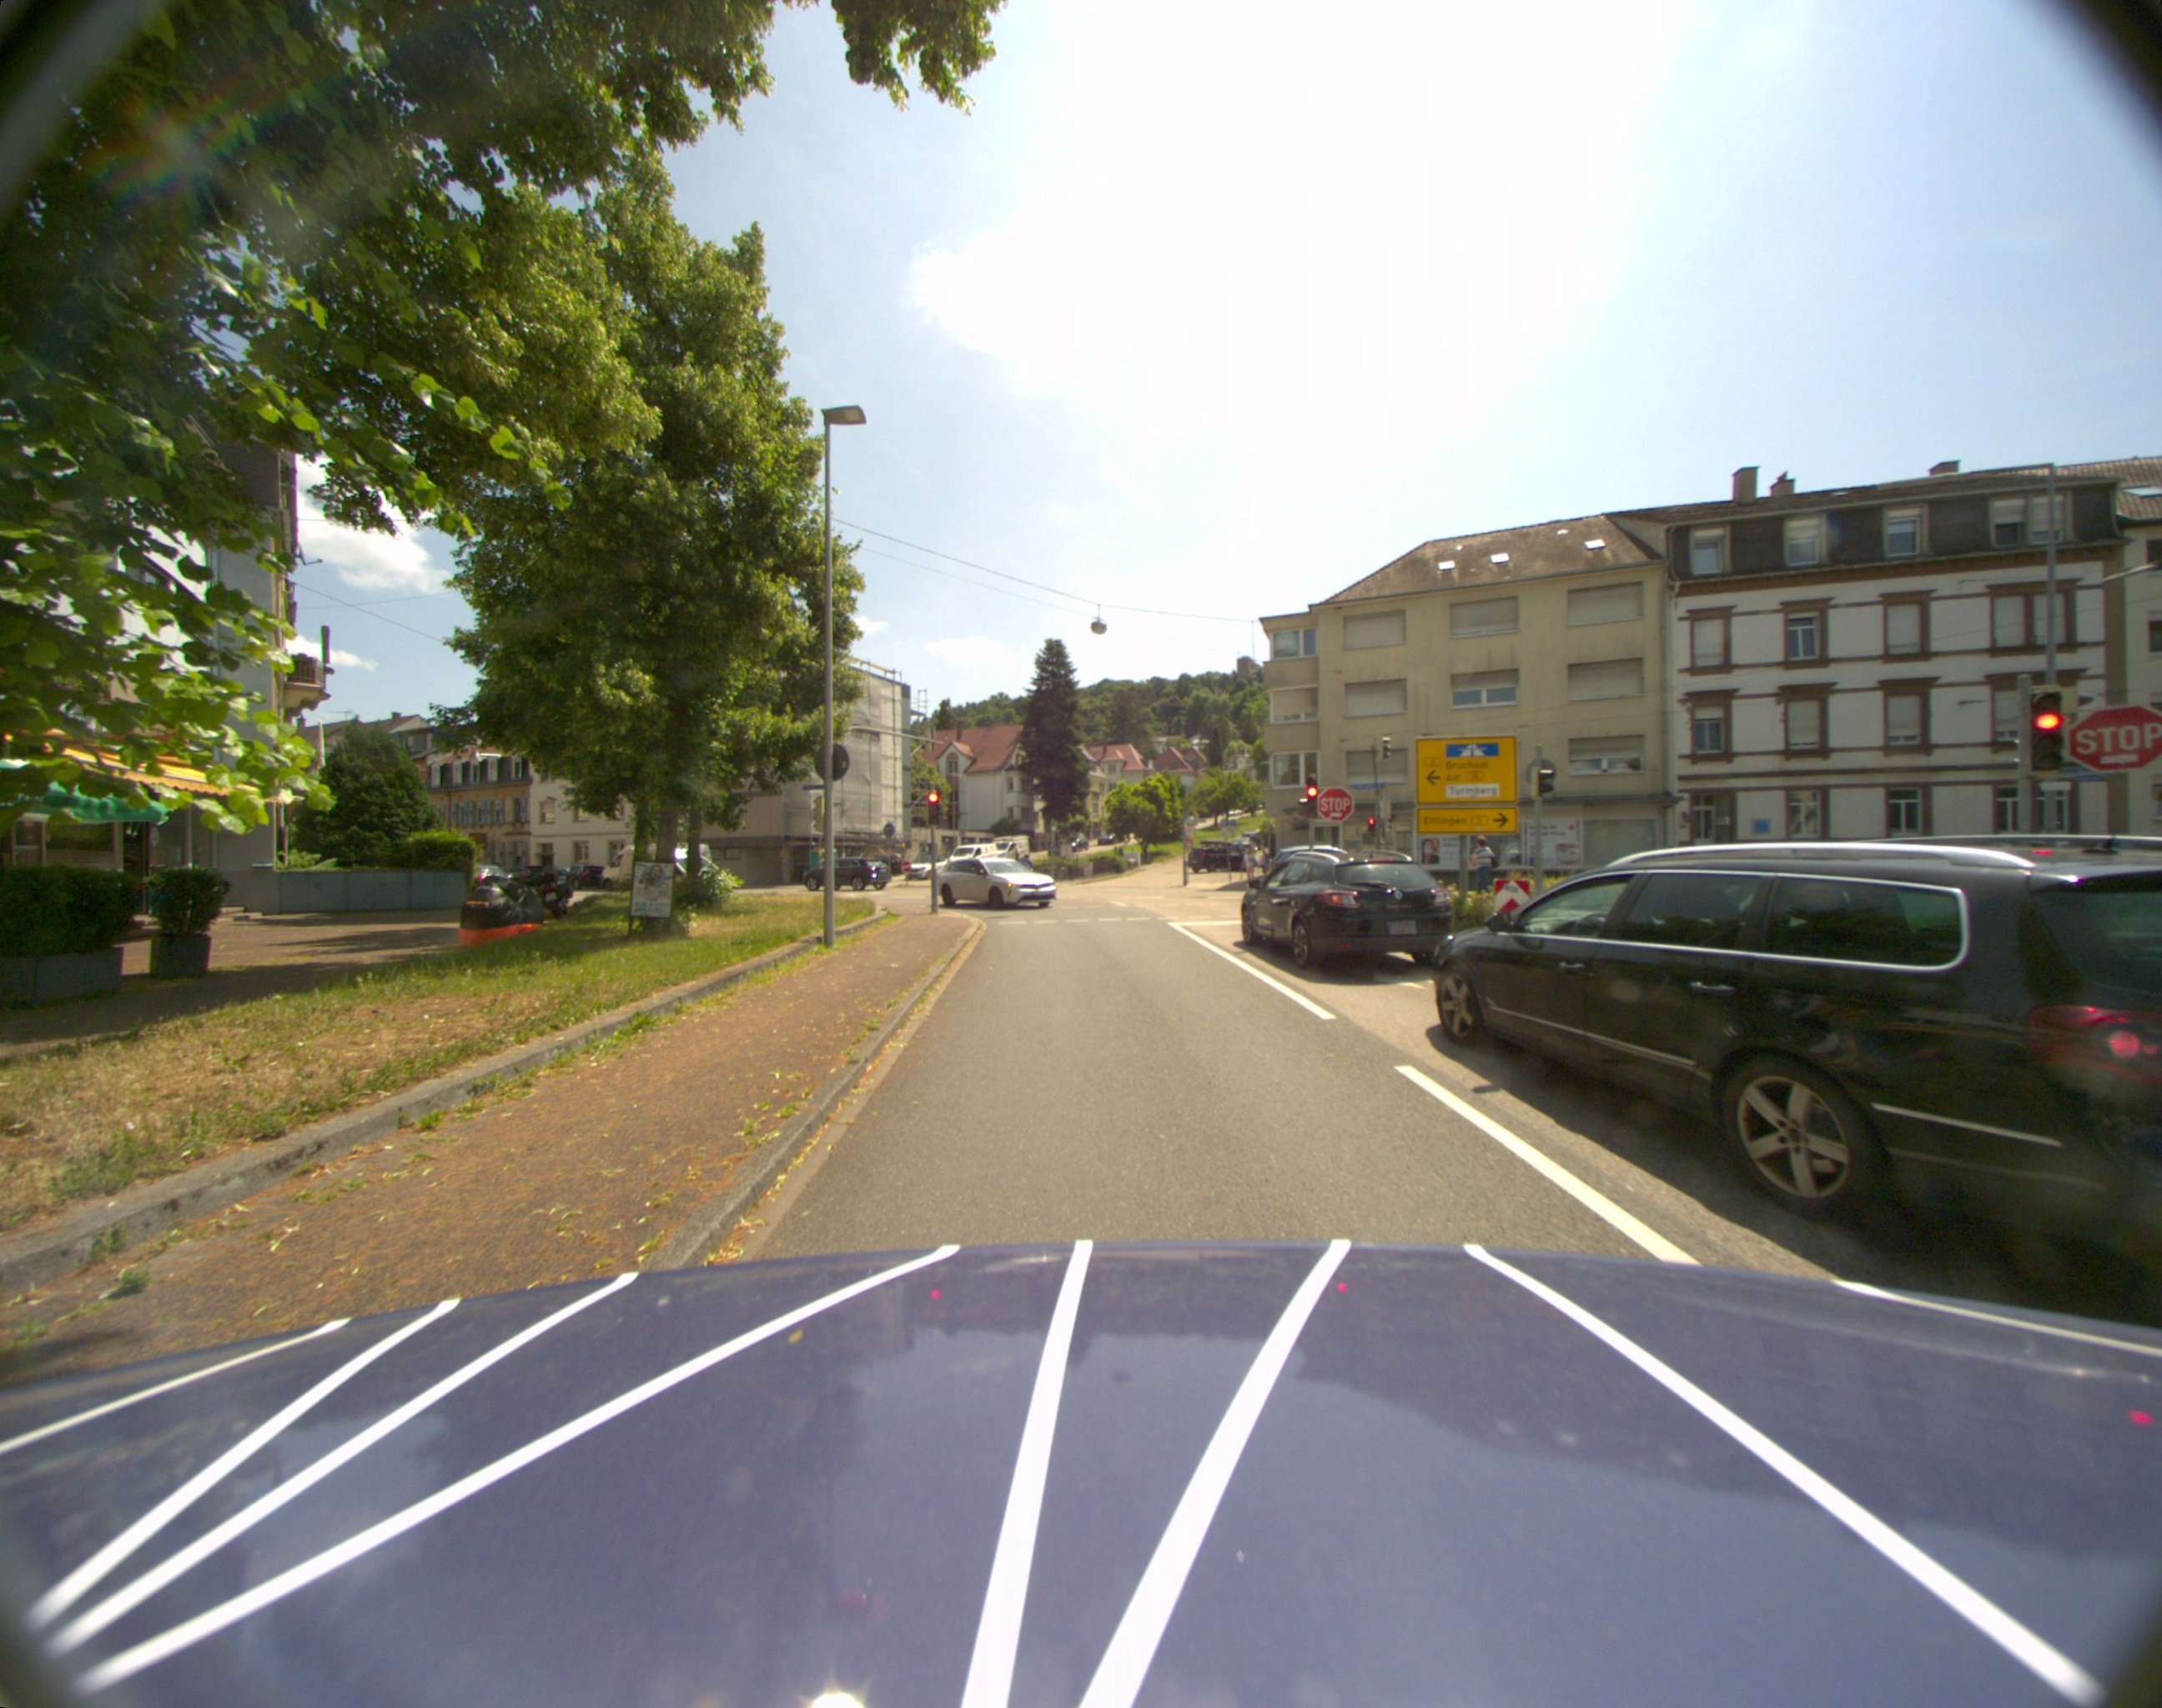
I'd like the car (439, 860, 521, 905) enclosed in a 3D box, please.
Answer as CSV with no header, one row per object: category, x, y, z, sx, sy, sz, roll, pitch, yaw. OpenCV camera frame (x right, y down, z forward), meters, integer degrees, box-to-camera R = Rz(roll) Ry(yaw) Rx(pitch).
car,-22.979,1.081,28.964,1.844,1.539,5.142,0,-2,-45

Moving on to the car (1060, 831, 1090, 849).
car,-0.543,-1.332,72.995,1.754,1.440,3.742,-1,4,19

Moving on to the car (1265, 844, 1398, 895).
car,8.216,0.500,25.081,3.991,1.559,1.762,-1,1,19

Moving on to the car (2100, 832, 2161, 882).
car,34.998,0.064,23.206,4.374,1.501,2.002,-1,0,13

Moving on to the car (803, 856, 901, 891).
car,-11.054,0.931,36.691,4.276,1.549,1.860,-1,1,22

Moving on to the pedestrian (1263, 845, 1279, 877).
pedestrian,9.655,0.343,38.683,0.647,1.623,0.689,-1,1,25

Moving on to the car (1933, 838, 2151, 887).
car,30.705,0.247,24.433,3.993,1.510,2.001,0,1,11

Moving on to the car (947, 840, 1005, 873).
car,-7.580,0.117,55.282,1.996,2.003,5.016,-1,4,20

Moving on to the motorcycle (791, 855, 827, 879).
motorcycle,-17.487,0.822,48.782,2.045,1.463,0.880,-2,1,-27

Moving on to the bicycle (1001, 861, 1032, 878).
bicycle,-3.692,0.876,43.258,1.742,0.961,0.399,-1,1,20

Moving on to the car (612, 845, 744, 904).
car,-16.725,0.827,31.436,5.657,2.261,1.910,-1,1,28

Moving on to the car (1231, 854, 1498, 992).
car,3.651,0.779,10.799,1.999,1.491,4.424,-1,0,-2

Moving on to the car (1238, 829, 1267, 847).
car,15.179,-1.437,67.161,1.805,1.380,4.003,-1,4,22

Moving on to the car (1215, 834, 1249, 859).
car,11.504,-0.623,57.654,1.805,1.607,4.003,-1,4,22

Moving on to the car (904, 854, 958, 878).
car,-9.882,0.780,50.262,1.754,1.439,3.744,-1,1,21

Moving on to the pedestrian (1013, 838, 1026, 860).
pedestrian,-4.912,-0.400,60.641,0.741,1.704,0.713,-1,1,27

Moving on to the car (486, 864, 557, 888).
car,-38.713,1.509,52.587,4.805,1.631,1.895,-1,-1,25

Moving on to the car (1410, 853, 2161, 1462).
car,3.767,0.780,4.119,1.998,1.510,4.511,-1,0,0

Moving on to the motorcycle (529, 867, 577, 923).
motorcycle,-13.607,1.004,19.561,0.920,1.305,2.219,-3,1,-36

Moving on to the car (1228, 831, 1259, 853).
car,13.352,-1.031,62.444,1.805,1.543,4.003,-1,4,22

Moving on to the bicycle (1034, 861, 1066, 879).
bicycle,-1.733,0.875,42.467,1.779,0.961,0.399,-1,1,20

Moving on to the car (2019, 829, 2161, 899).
car,26.386,0.206,18.622,3.992,1.622,1.761,-1,1,16

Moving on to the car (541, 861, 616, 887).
car,-33.105,1.312,50.062,4.651,1.631,1.894,-1,-1,23

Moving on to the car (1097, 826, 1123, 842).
car,3.208,-2.148,82.071,1.754,1.440,3.742,-1,4,19

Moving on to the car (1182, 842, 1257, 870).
car,8.774,0.094,48.034,4.335,1.654,1.996,-1,0,-27

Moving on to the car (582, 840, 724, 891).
car,-23.515,0.547,41.721,7.536,2.488,2.225,1,5,19

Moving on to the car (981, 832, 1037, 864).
car,-5.775,-0.520,61.597,2.069,2.166,5.018,-1,4,27

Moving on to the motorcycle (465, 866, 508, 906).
motorcycle,-20.387,1.096,26.034,0.935,1.294,2.275,-1,-1,-44

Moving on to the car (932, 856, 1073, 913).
car,-2.415,0.825,22.519,1.910,1.489,4.474,-1,0,-41

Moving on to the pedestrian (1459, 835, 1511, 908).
pedestrian,9.562,0.403,18.023,0.762,1.695,0.838,-1,1,-2

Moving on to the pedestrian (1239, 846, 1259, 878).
pedestrian,8.692,0.388,39.220,0.820,1.623,0.805,-1,1,25

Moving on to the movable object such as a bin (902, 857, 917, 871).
movable object such as a bin,-12.080,0.709,53.472,0.702,0.921,0.742,-1,1,26
